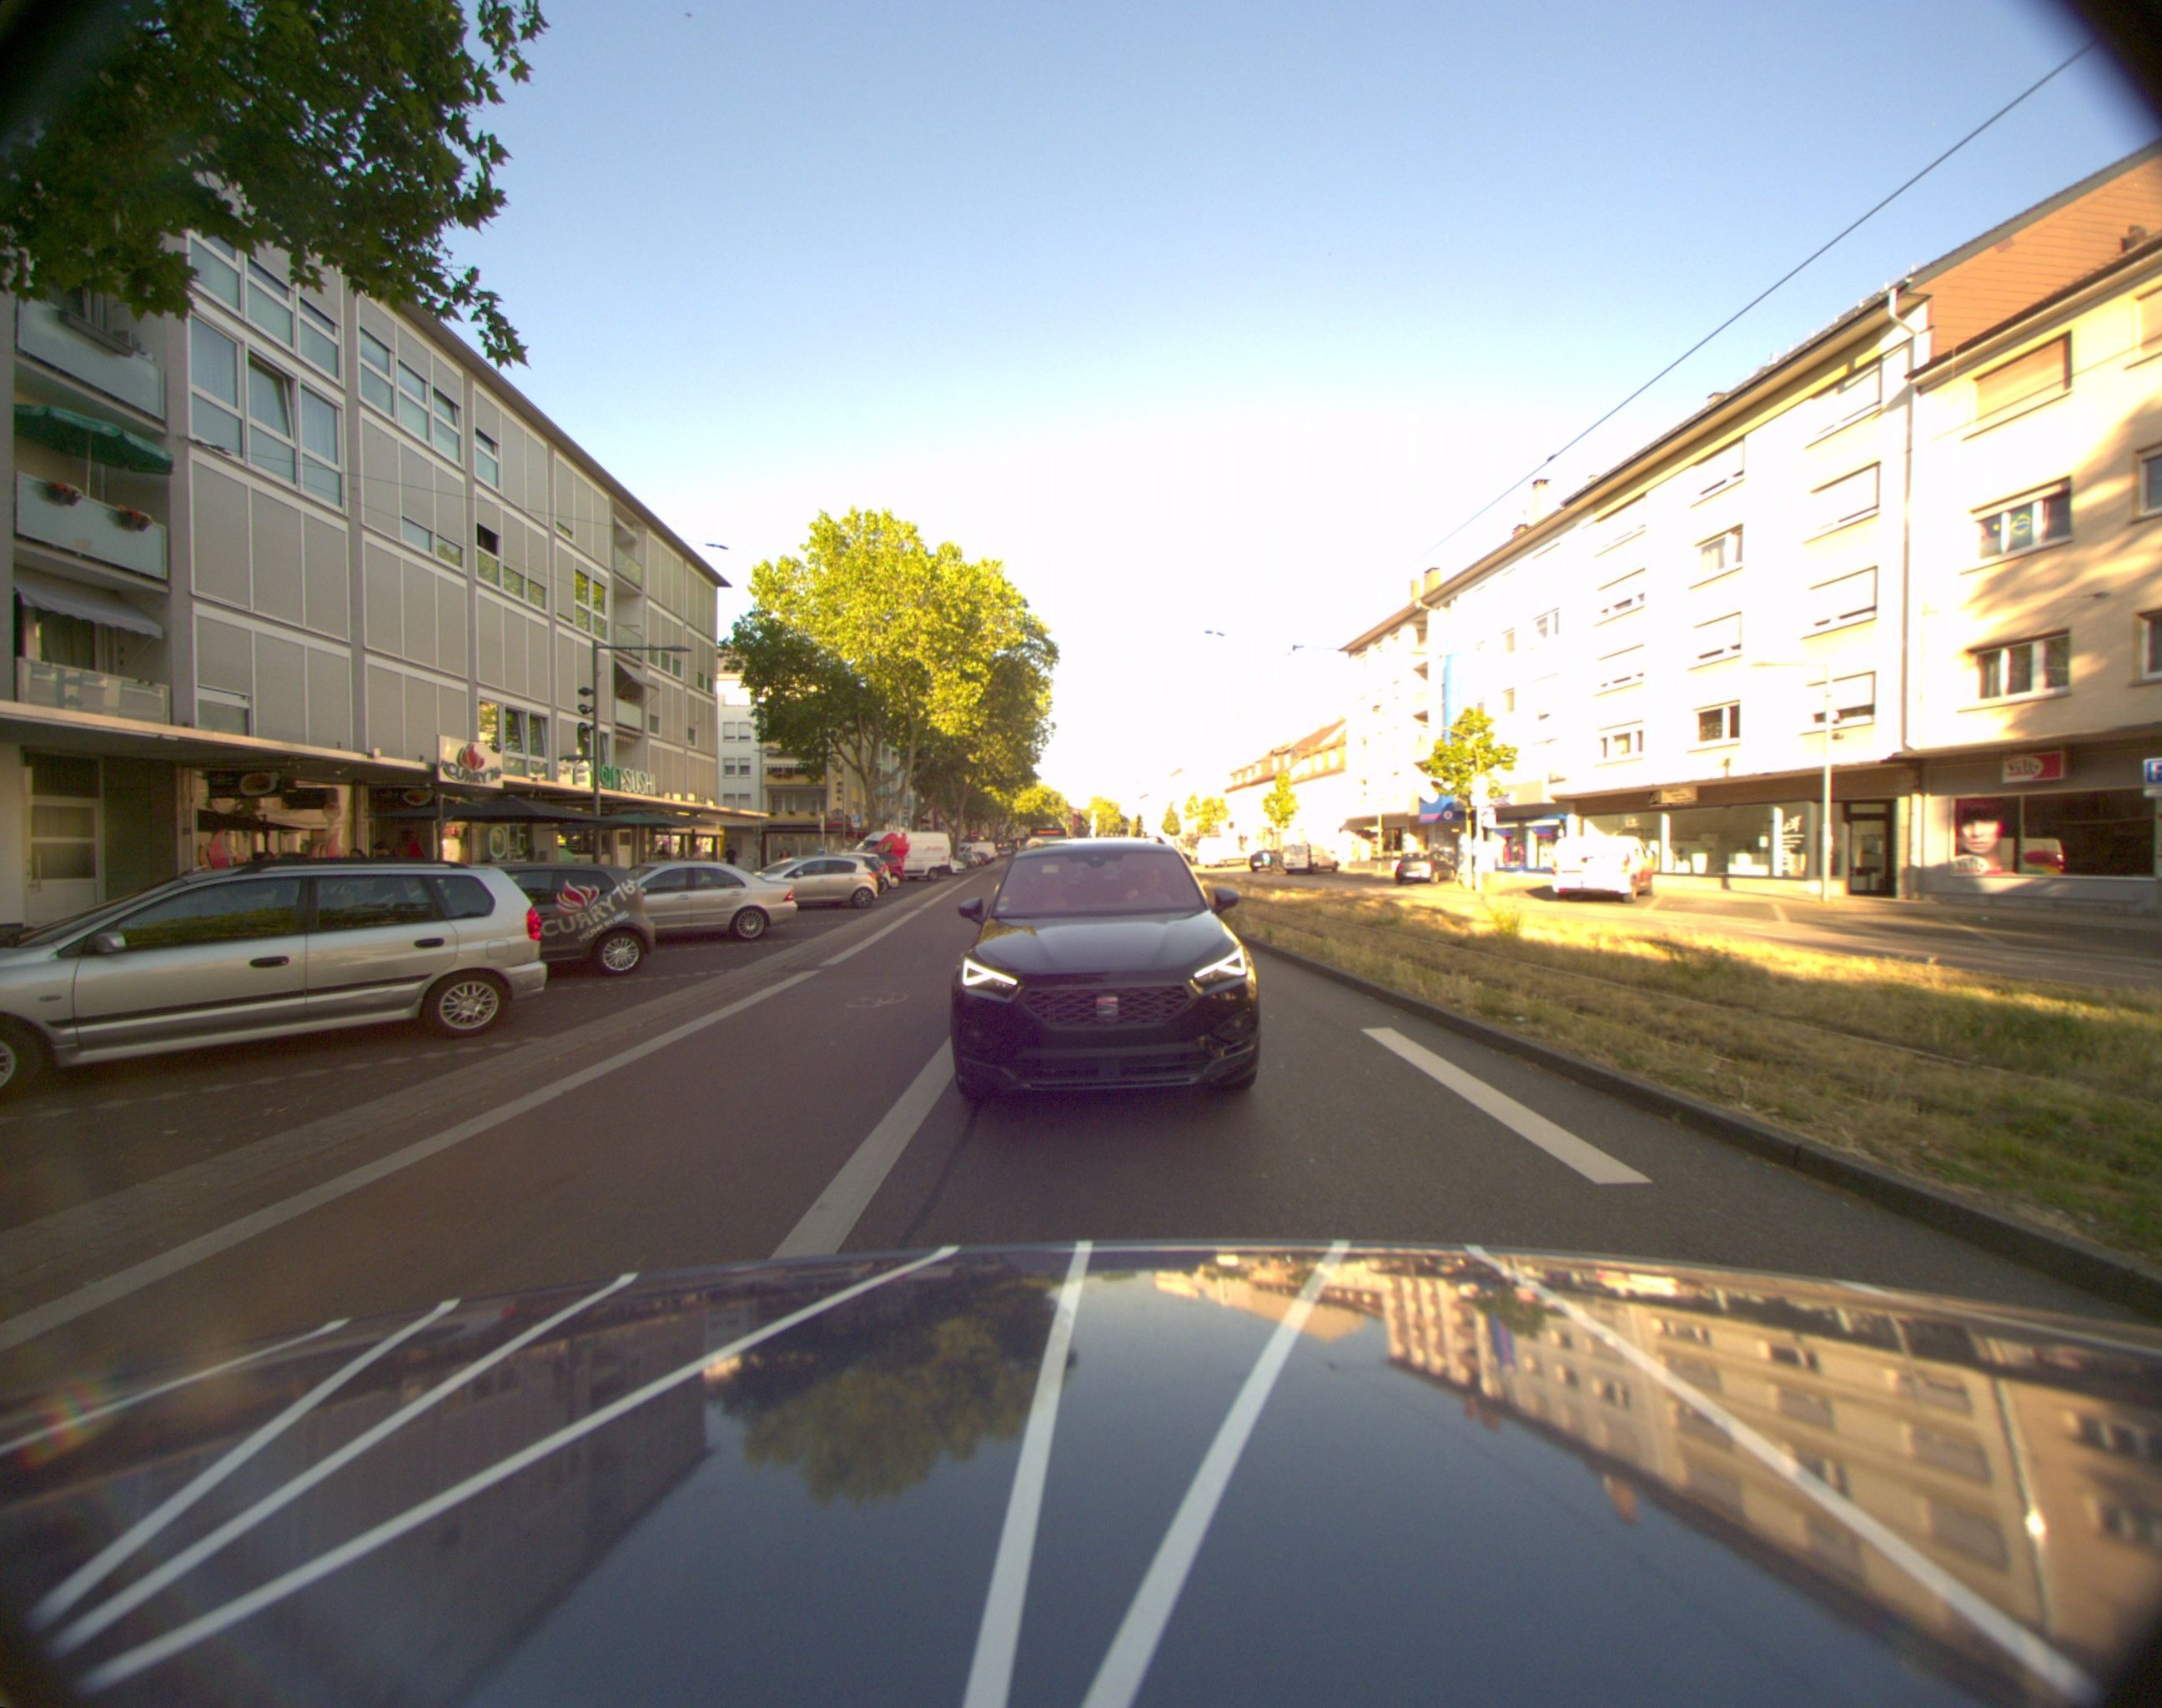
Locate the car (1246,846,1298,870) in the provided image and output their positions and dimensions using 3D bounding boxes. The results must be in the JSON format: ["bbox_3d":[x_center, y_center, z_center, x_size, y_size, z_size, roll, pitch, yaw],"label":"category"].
[{"bbox_3d":[13.753,0.285,54.651,1.874,1.577,4.008,-1,1,43],"label":"car"}]

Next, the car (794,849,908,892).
[{"bbox_3d":[-9.095,0.614,30.210,4.008,1.555,1.654,0,2,-44],"label":"car"}]

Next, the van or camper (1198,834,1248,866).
[{"bbox_3d":[12.911,-0.409,68.556,1.994,2.652,6.410,-1,1,34],"label":"van or camper"}]

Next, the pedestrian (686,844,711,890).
[{"bbox_3d":[-13.538,0.442,26.928,0.538,1.582,0.686,2,1,-5],"label":"pedestrian"}]

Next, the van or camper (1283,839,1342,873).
[{"bbox_3d":[14.588,0.109,47.790,1.795,1.978,4.460,-1,1,41],"label":"van or camper"}]

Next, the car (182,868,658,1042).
[{"bbox_3d":[-7.572,0.962,9.075,1.804,1.498,4.008,1,1,38],"label":"car"}]

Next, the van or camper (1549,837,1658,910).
[{"bbox_3d":[15.834,0.503,22.894,1.946,1.887,4.824,-1,1,43],"label":"van or camper"}]

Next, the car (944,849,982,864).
[{"bbox_3d":[-11.478,0.252,74.021,3.337,1.339,1.526,0,2,-44],"label":"car"}]

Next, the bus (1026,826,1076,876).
[{"bbox_3d":[-2.254,-0.334,52.742,2.873,2.962,12.231,-2,2,-5],"label":"bus"}]

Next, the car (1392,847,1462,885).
[{"bbox_3d":[15.627,0.511,34.224,1.765,1.482,4.460,-1,1,39],"label":"car"}]

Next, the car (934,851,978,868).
[{"bbox_3d":[-10.551,0.472,64.231,3.337,1.339,1.526,0,2,-44],"label":"car"}]

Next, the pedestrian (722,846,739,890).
[{"bbox_3d":[-16.172,0.641,35.061,0.552,2.002,0.576,-3,1,-18],"label":"pedestrian"}]

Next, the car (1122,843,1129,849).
[{"bbox_3d":[14.172,-2.548,242.427,1.869,1.832,3.826,0,1,2],"label":"car"}]

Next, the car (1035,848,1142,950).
[{"bbox_3d":[0.067,0.679,13.831,1.659,1.572,3.999,0,1,-1],"label":"car"}]

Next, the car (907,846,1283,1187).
[{"bbox_3d":[0.098,0.790,5.768,1.808,1.638,3.999,-2,1,1],"label":"car"}]

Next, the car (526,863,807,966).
[{"bbox_3d":[-7.124,0.933,13.363,1.654,1.428,4.008,2,2,43],"label":"car"}]

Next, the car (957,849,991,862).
[{"bbox_3d":[-11.387,0.167,81.273,3.337,1.339,1.526,0,2,-44],"label":"car"}]

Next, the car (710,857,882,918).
[{"bbox_3d":[-7.611,0.829,20.507,4.008,1.428,1.654,0,2,-44],"label":"car"}]

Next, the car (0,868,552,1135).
[{"bbox_3d":[-6.910,0.961,6.092,1.804,1.597,4.008,1,1,38],"label":"car"}]

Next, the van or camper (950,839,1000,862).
[{"bbox_3d":[-11.824,-0.371,84.764,1.994,2.455,5.474,1,1,44],"label":"van or camper"}]

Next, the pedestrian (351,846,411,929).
[{"bbox_3d":[-13.735,0.637,14.916,0.538,1.582,0.686,2,1,-5],"label":"pedestrian"}]

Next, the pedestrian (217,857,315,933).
[{"bbox_3d":[-15.157,0.742,14.156,0.750,1.354,0.962,0,1,0],"label":"pedestrian"}]

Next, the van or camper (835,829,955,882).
[{"bbox_3d":[-9.109,0.055,37.608,5.474,2.455,1.994,-1,1,-44],"label":"van or camper"}]

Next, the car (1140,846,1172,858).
[{"bbox_3d":[10.167,-0.284,103.189,3.921,1.482,1.766,-3,1,-27],"label":"car"}]

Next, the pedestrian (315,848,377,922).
[{"bbox_3d":[-14.310,0.589,14.808,0.538,1.392,0.686,2,1,-5],"label":"pedestrian"}]

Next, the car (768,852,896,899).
[{"bbox_3d":[-8.790,0.698,27.015,4.008,1.514,1.654,0,2,-44],"label":"car"}]
